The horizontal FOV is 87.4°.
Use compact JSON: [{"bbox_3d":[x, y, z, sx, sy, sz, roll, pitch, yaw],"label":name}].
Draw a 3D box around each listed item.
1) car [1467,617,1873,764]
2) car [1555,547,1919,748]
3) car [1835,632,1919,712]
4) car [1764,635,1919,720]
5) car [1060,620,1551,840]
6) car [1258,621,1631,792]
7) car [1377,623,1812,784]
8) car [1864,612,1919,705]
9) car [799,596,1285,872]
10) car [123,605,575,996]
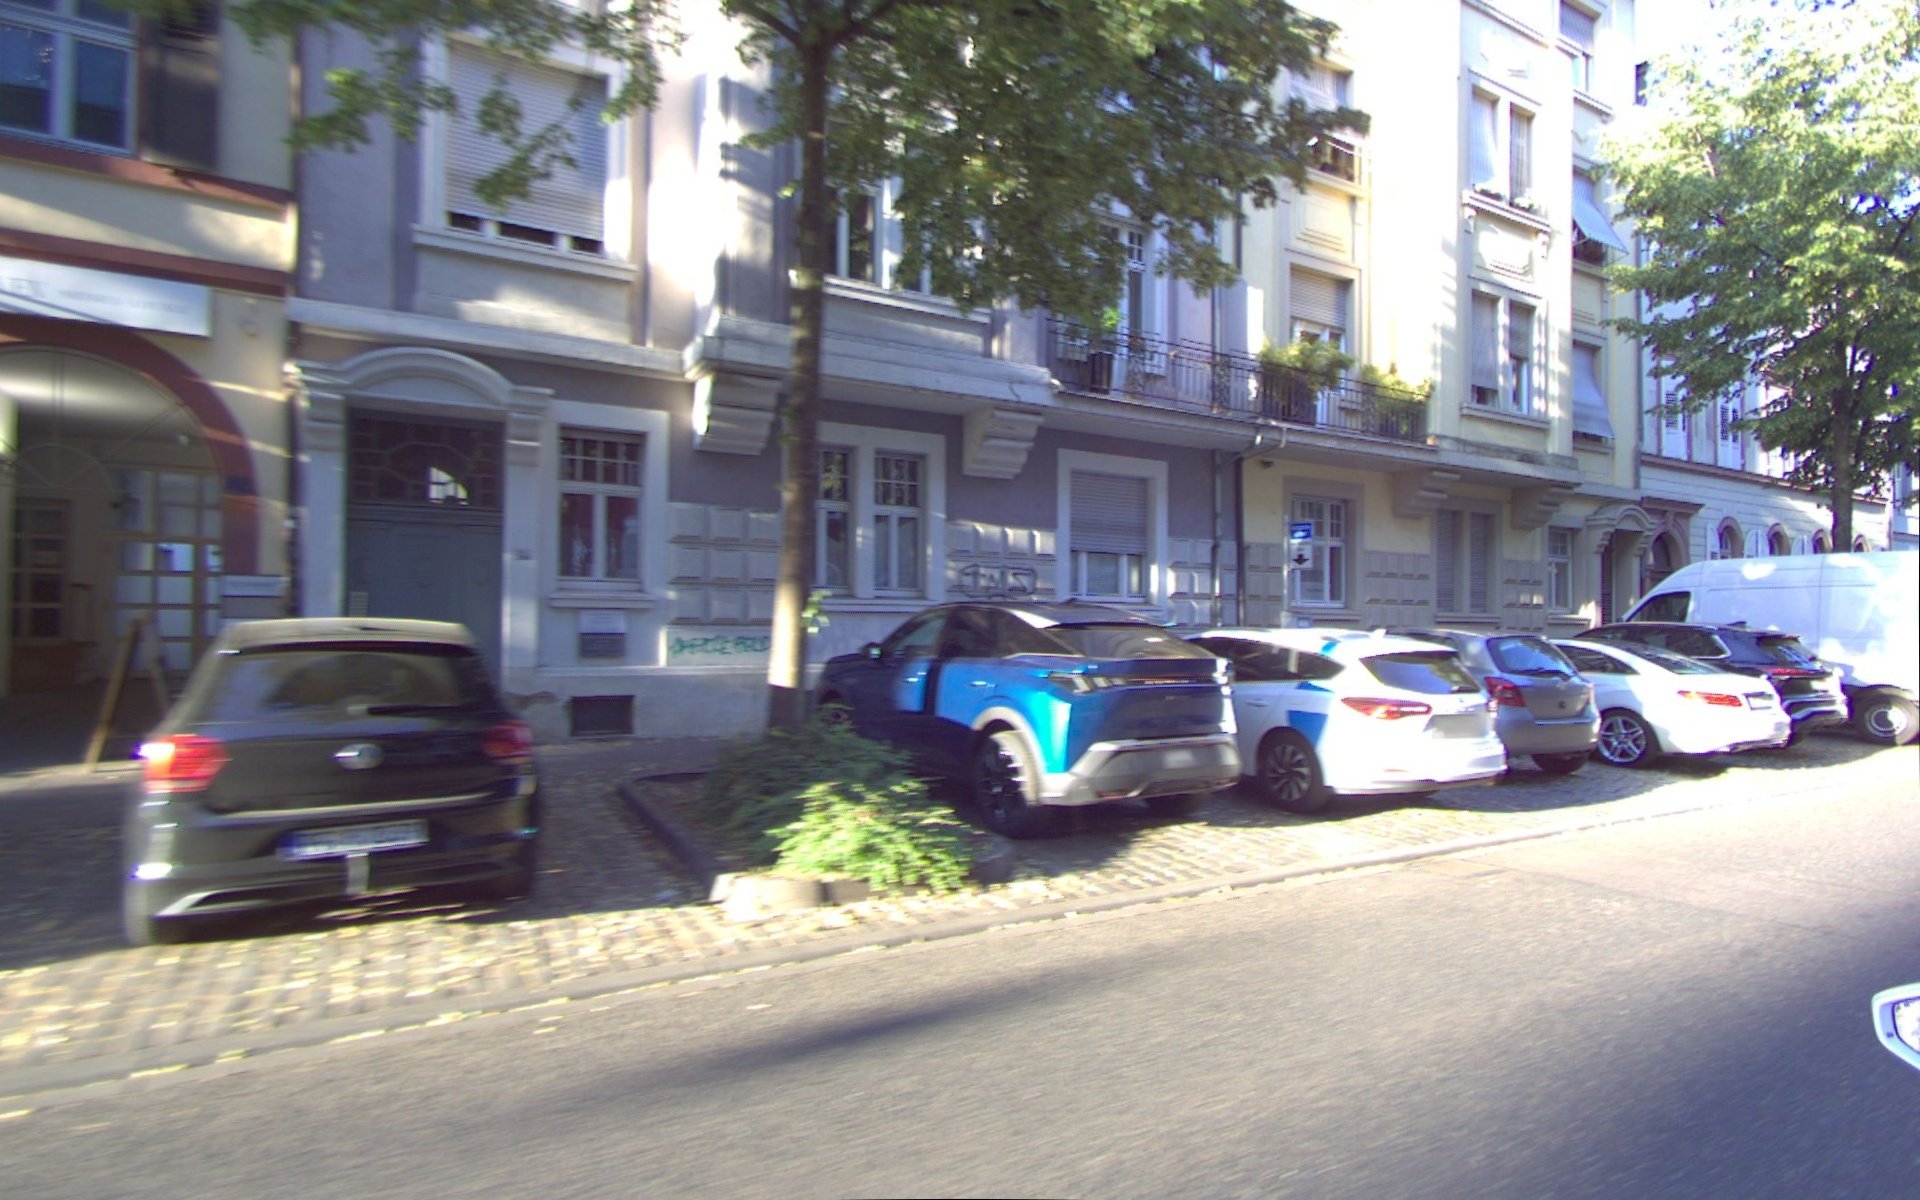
[{"bbox_3d":[9.583,1.102,13.954,1.951,1.621,4.195,1,0,-28],"label":"car"},{"bbox_3d":[12.643,0.642,15.515,2.145,2.656,5.633,1,0,-29],"label":"car"},{"bbox_3d":[19.433,1.429,19.521,1.695,1.486,3.349,1,0,-33],"label":"car"},{"bbox_3d":[17.237,1.403,18.088,1.730,1.422,3.967,3,-2,-31],"label":"car"},{"bbox_3d":[2.971,0.992,9.552,1.947,1.502,4.165,1,0,-30],"label":"car"},{"bbox_3d":[5.260,1.047,11.339,1.822,1.530,3.396,1,0,-26],"label":"car"},{"bbox_3d":[7.517,1.101,12.372,1.772,1.526,4.193,1,0,-30],"label":"car"},{"bbox_3d":[21.805,1.238,20.617,1.894,1.979,4.483,1,-1,-27],"label":"car"},{"bbox_3d":[0.389,0.830,8.413,1.873,1.672,4.205,1,0,-33],"label":"car"},{"bbox_3d":[-3.608,0.818,6.076,1.678,1.468,3.893,1,0,-32],"label":"car"}]
